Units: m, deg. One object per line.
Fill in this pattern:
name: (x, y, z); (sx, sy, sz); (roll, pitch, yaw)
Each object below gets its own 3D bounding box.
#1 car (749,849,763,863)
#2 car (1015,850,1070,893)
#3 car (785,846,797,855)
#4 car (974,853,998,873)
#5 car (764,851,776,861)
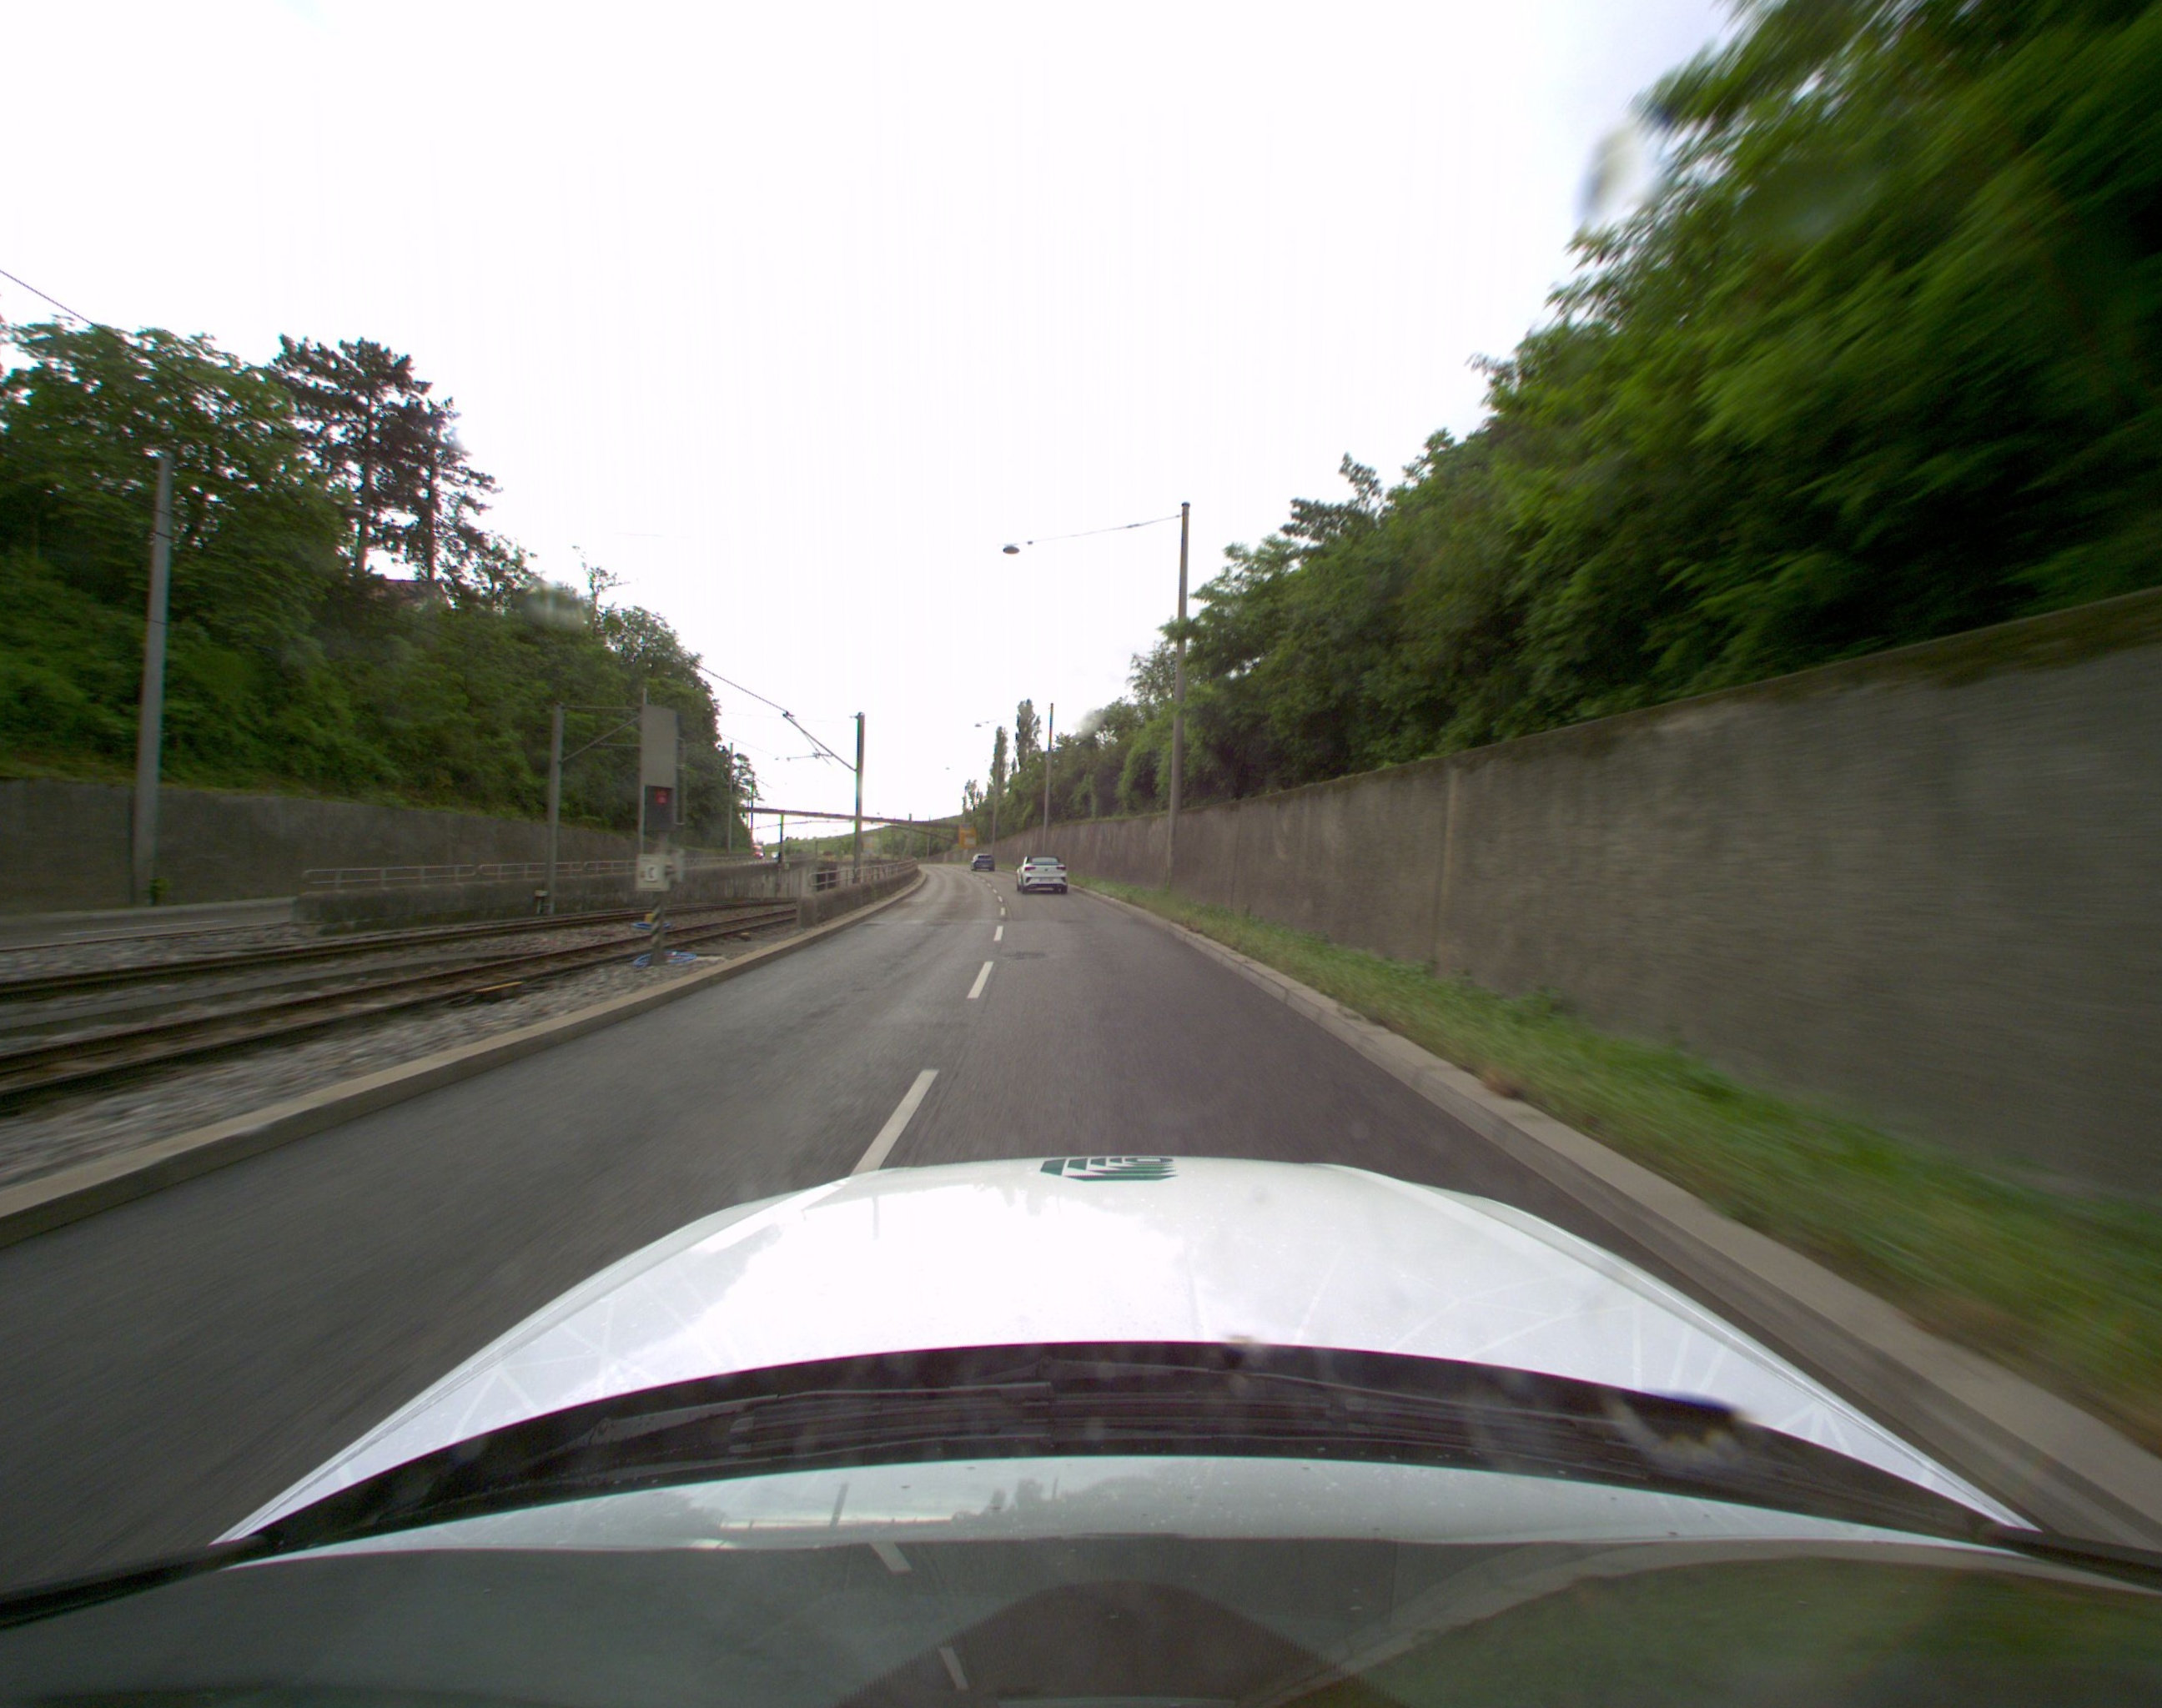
car: (-61.339, 0.406, 153.643); (2.189, 2.734, 6.304); (0, -1, -19)
car: (-1.618, 0.662, 32.837); (1.993, 1.578, 4.116); (-1, 0, -6)
car: (-54.746, -0.620, 153.616); (1.968, 1.750, 4.112); (0, -1, -21)
car: (-8.050, 0.727, 68.725); (1.924, 1.599, 4.052); (-1, 0, -7)
car: (-55.258, 0.399, 144.755); (1.823, 1.704, 4.084); (0, -1, -19)
